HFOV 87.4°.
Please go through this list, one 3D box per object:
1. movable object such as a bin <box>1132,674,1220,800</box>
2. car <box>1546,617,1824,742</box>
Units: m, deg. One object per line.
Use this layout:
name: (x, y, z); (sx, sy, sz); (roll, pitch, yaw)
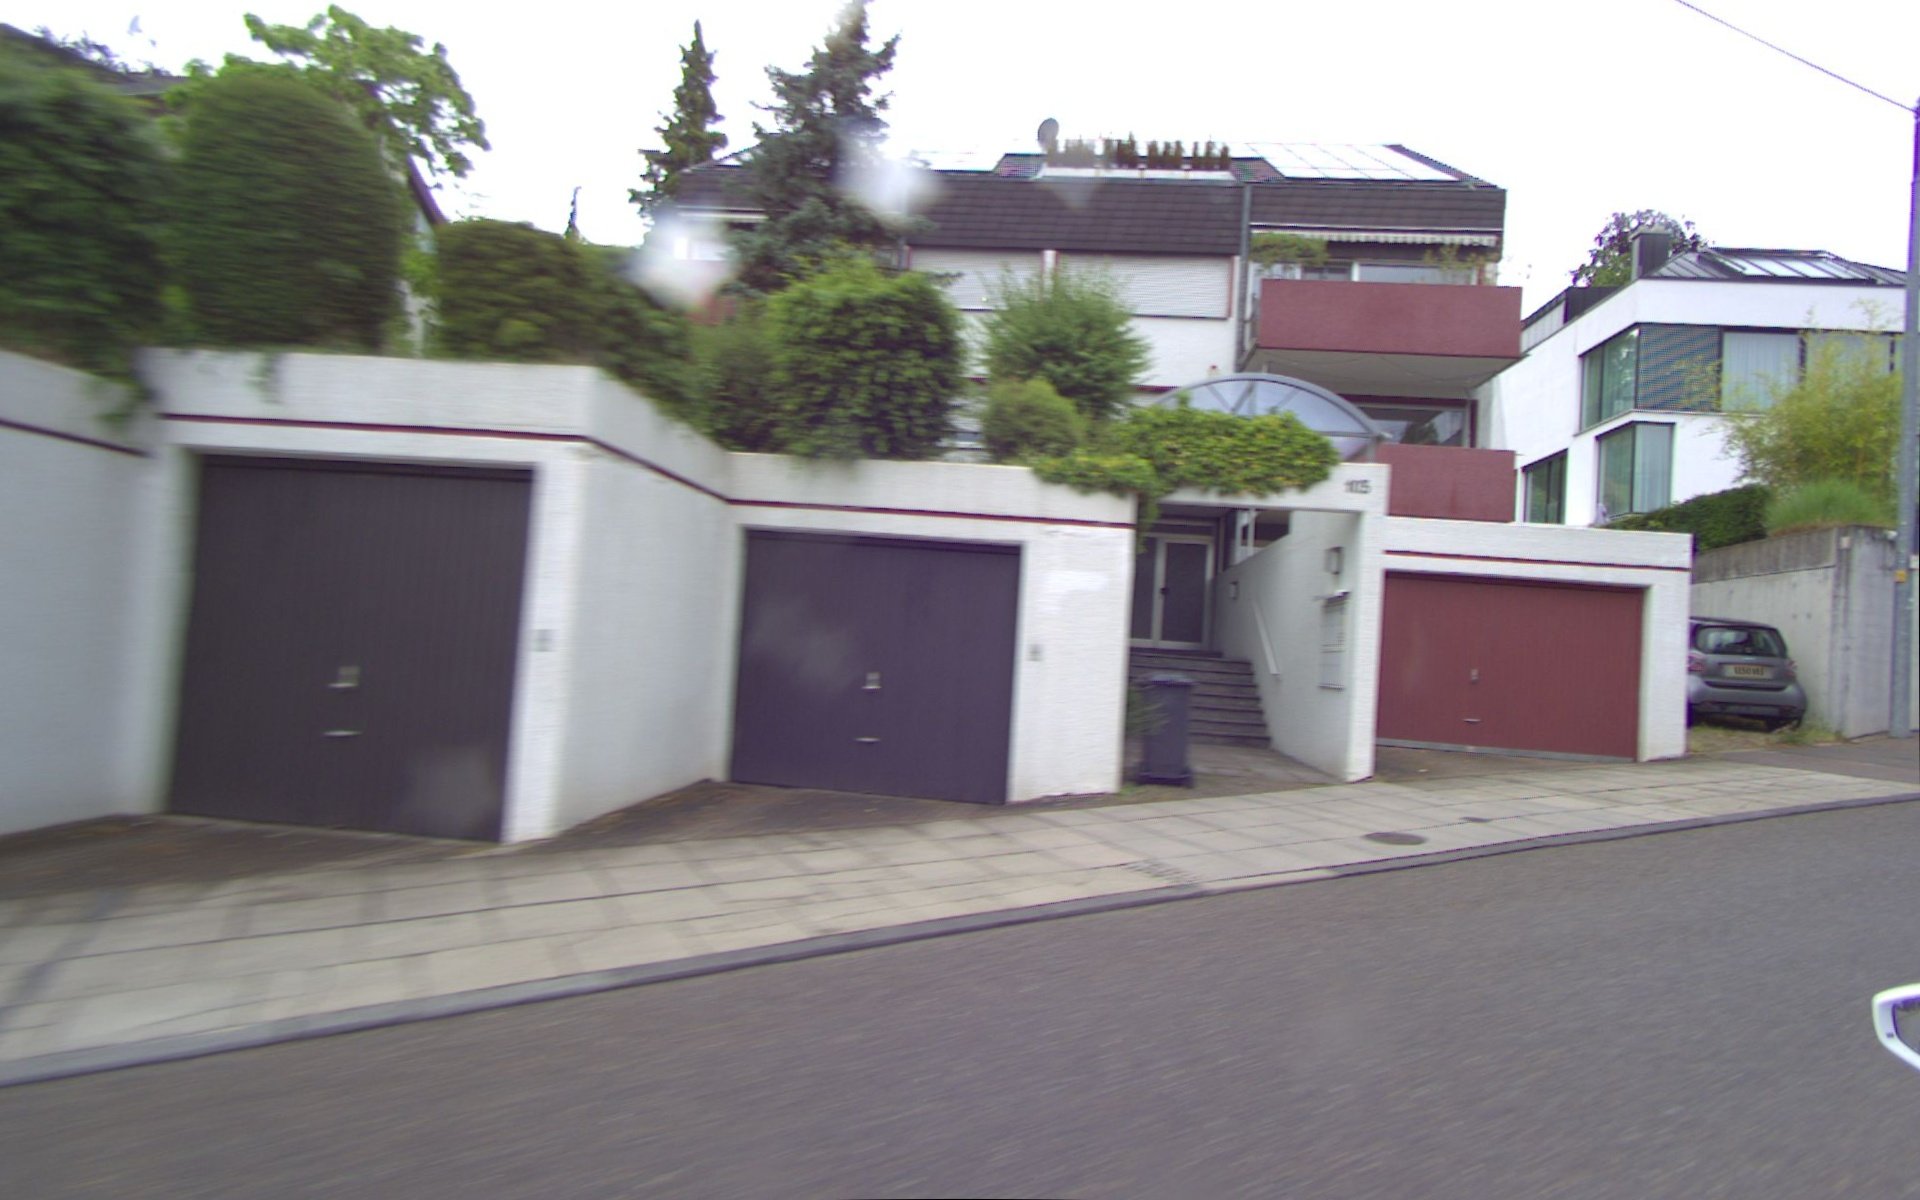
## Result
movable object such as a bin: (1.812, 1.138, 8.496); (0.633, 0.976, 0.544); (1, 0, 4)
car: (10.955, 1.108, 15.573); (1.732, 1.498, 3.933); (2, 1, 6)
